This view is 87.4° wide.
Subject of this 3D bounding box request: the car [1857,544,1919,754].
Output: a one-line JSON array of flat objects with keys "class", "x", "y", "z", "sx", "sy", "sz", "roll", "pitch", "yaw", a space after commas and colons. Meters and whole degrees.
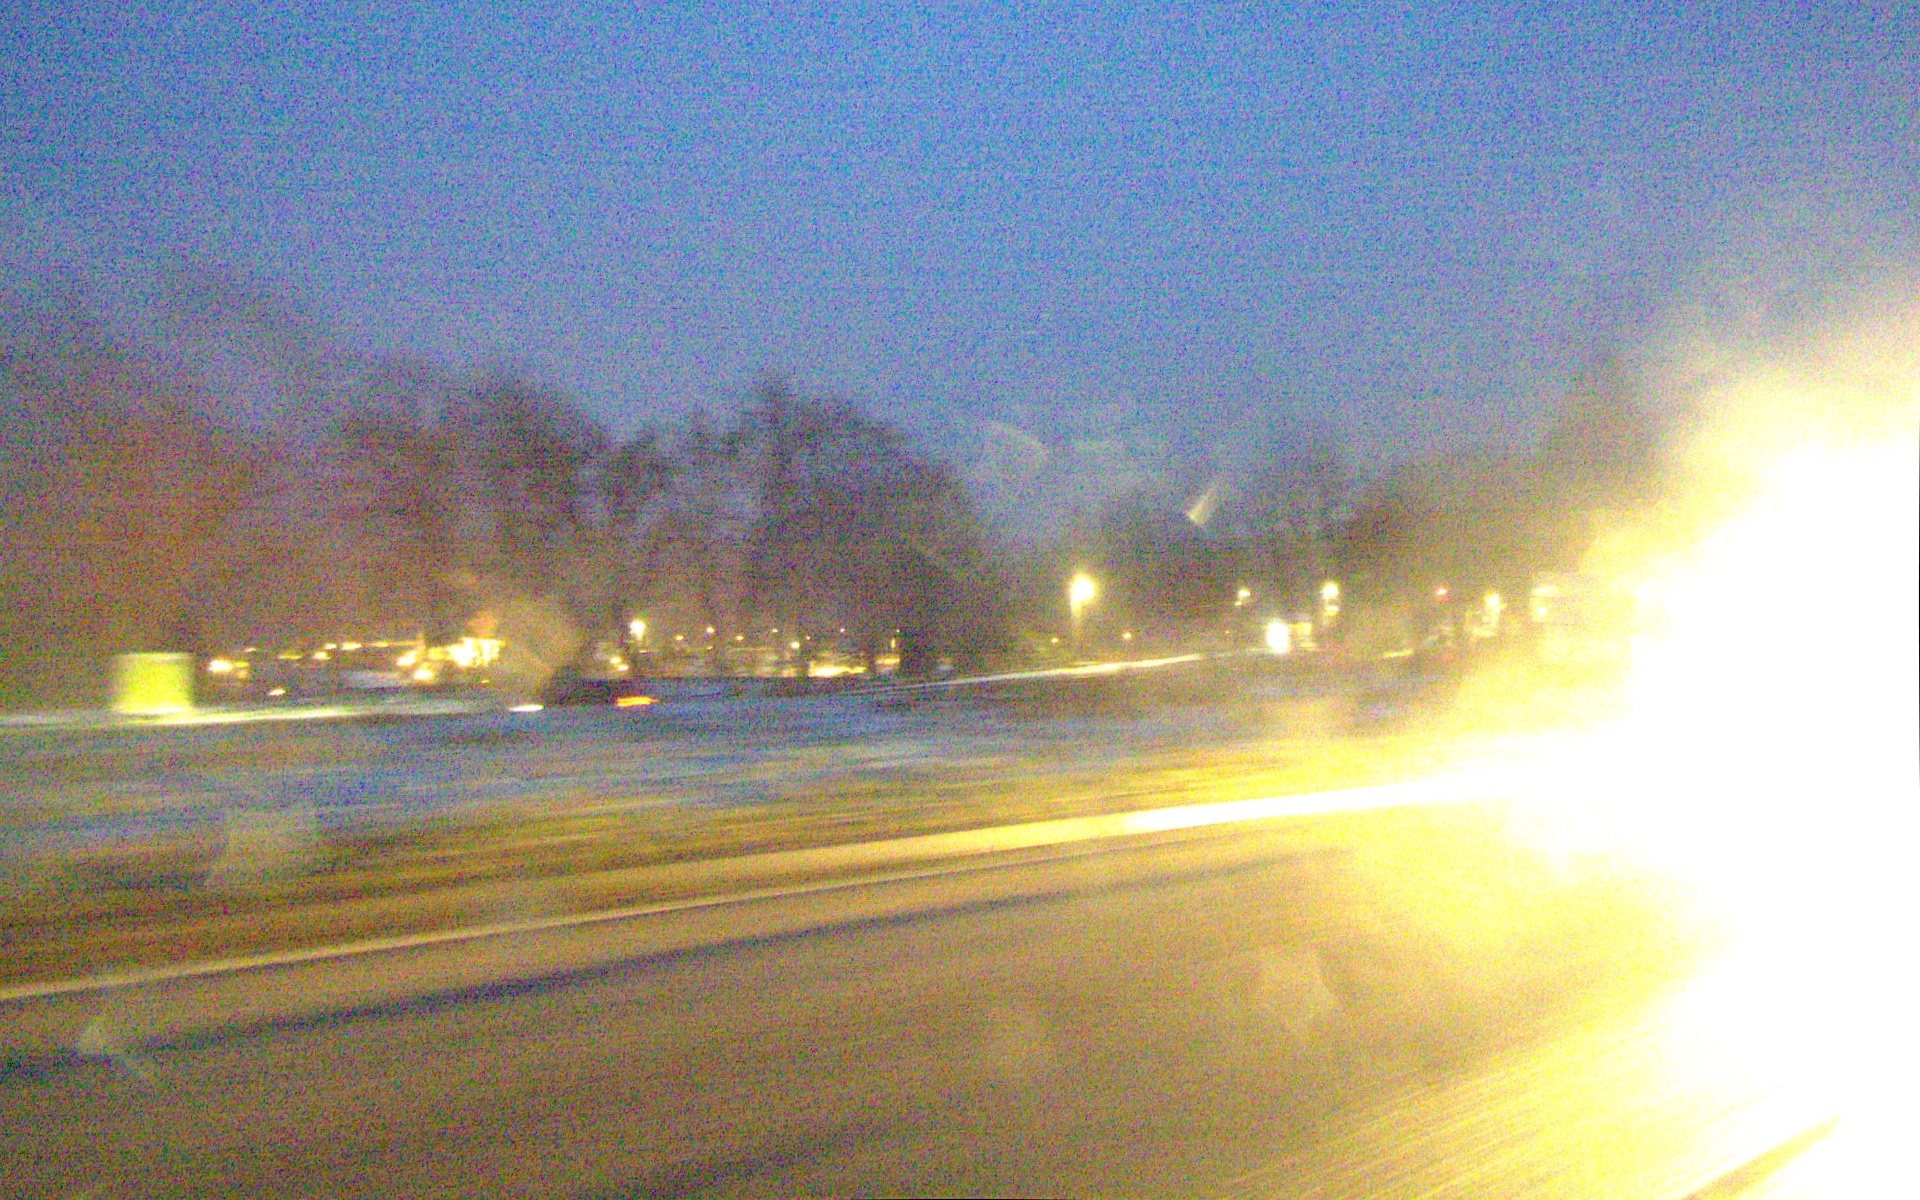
[{"class": "car", "x": 13.584, "y": 0.632, "z": 11.936, "sx": 6.192, "sy": 2.298, "sz": 2.738, "roll": 3, "pitch": -3, "yaw": -32}]
